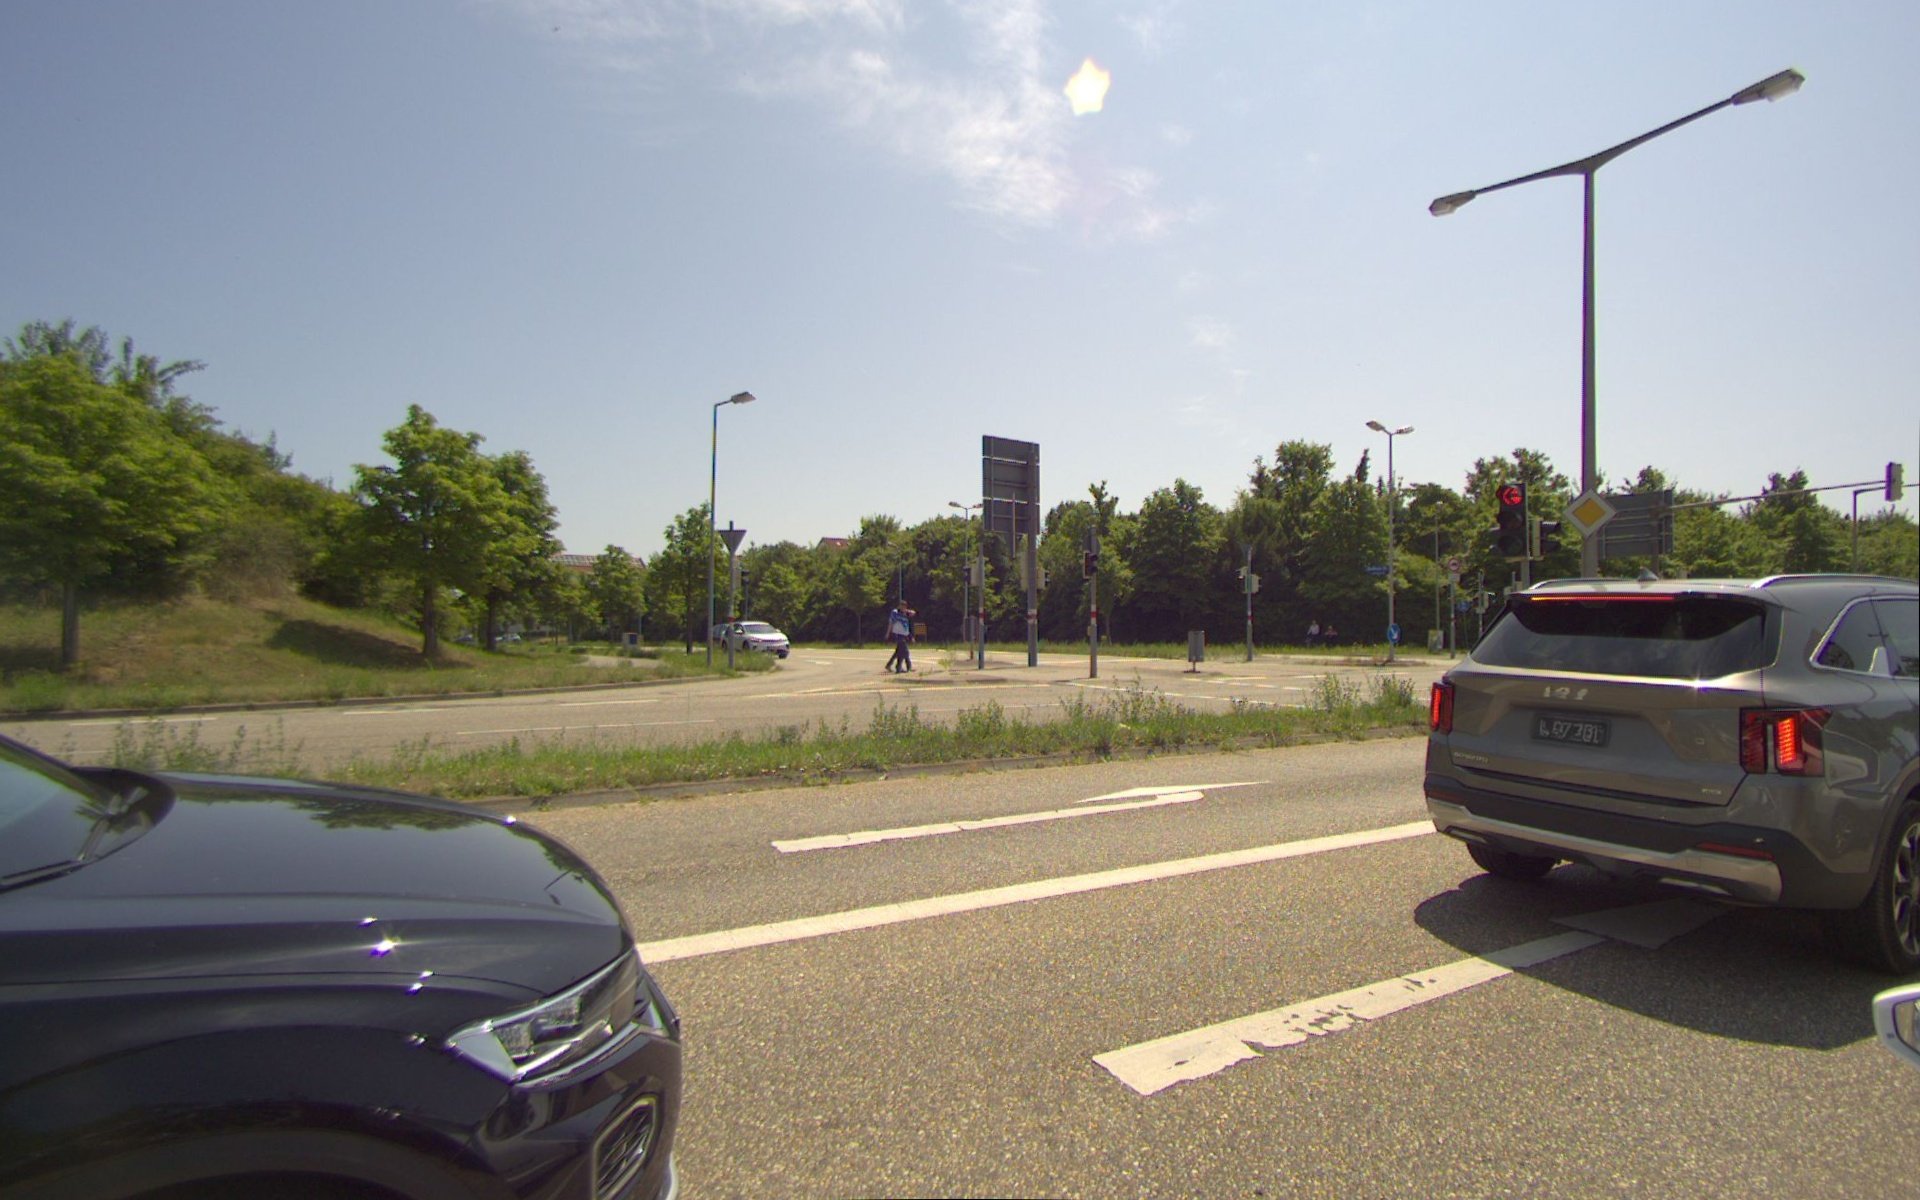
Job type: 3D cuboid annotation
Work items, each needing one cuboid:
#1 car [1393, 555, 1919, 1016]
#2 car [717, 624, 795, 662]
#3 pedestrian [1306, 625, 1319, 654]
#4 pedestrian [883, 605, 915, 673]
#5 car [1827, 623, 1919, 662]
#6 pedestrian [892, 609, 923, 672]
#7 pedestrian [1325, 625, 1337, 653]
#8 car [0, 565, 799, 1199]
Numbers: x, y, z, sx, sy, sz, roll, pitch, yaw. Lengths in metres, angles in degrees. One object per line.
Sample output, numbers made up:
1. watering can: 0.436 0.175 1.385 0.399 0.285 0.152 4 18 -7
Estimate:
1. car: 4.674 0.739 5.629 4.590 1.684 1.795 1 -1 -30
2. car: -9.108 1.887 44.568 1.860 1.522 4.269 -2 -1 -34
3. pedestrian: 19.741 2.202 56.247 0.606 1.624 0.798 -1 -1 24
4. pedestrian: -1.629 1.031 26.710 0.779 1.759 0.582 0 -1 -11
5. car: 36.309 1.641 39.757 4.119 1.475 1.814 1 -1 -30
6. pedestrian: -1.465 1.108 27.936 0.761 1.722 0.723 0 -1 -11
7. pedestrian: 20.608 2.173 55.794 0.606 1.523 0.798 0 -1 24
8. car: -2.402 0.689 1.440 3.924 1.532 1.726 2 0 -30
